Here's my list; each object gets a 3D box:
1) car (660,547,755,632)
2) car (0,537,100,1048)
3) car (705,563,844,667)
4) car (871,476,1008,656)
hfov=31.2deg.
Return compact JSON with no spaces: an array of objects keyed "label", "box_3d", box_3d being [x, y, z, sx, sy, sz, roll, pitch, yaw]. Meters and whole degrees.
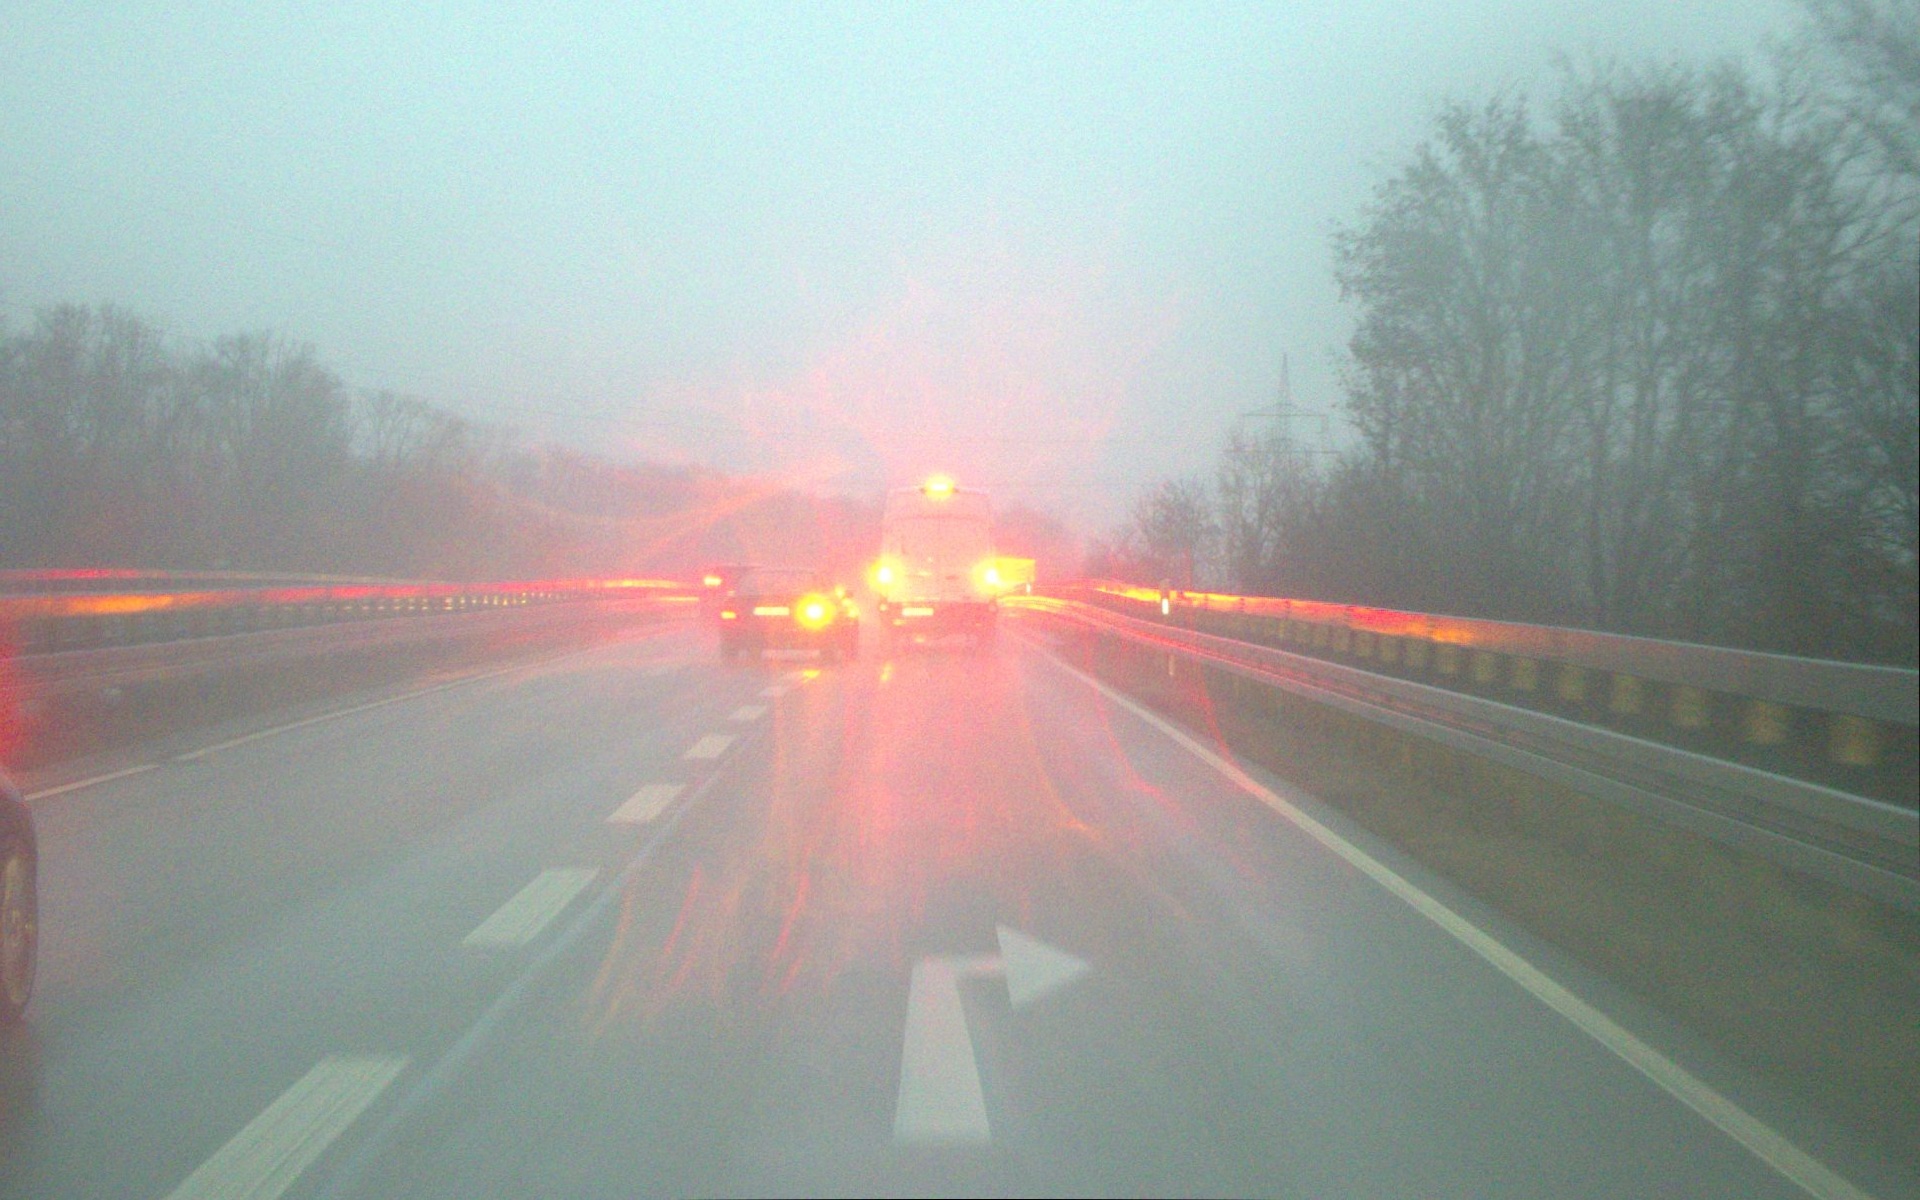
[{"label":"car","box_3d":[-5.860,-0.244,80.170,1.993,1.808,4.000,3,0,-2]},{"label":"car","box_3d":[-3.741,0.547,9.403,1.730,1.527,4.042,0,-2,0]},{"label":"car","box_3d":[-2.744,0.233,51.584,1.736,1.410,4.377,3,0,1]},{"label":"car","box_3d":[-0.383,-0.518,60.149,2.282,2.956,6.390,0,-1,-1]}]
